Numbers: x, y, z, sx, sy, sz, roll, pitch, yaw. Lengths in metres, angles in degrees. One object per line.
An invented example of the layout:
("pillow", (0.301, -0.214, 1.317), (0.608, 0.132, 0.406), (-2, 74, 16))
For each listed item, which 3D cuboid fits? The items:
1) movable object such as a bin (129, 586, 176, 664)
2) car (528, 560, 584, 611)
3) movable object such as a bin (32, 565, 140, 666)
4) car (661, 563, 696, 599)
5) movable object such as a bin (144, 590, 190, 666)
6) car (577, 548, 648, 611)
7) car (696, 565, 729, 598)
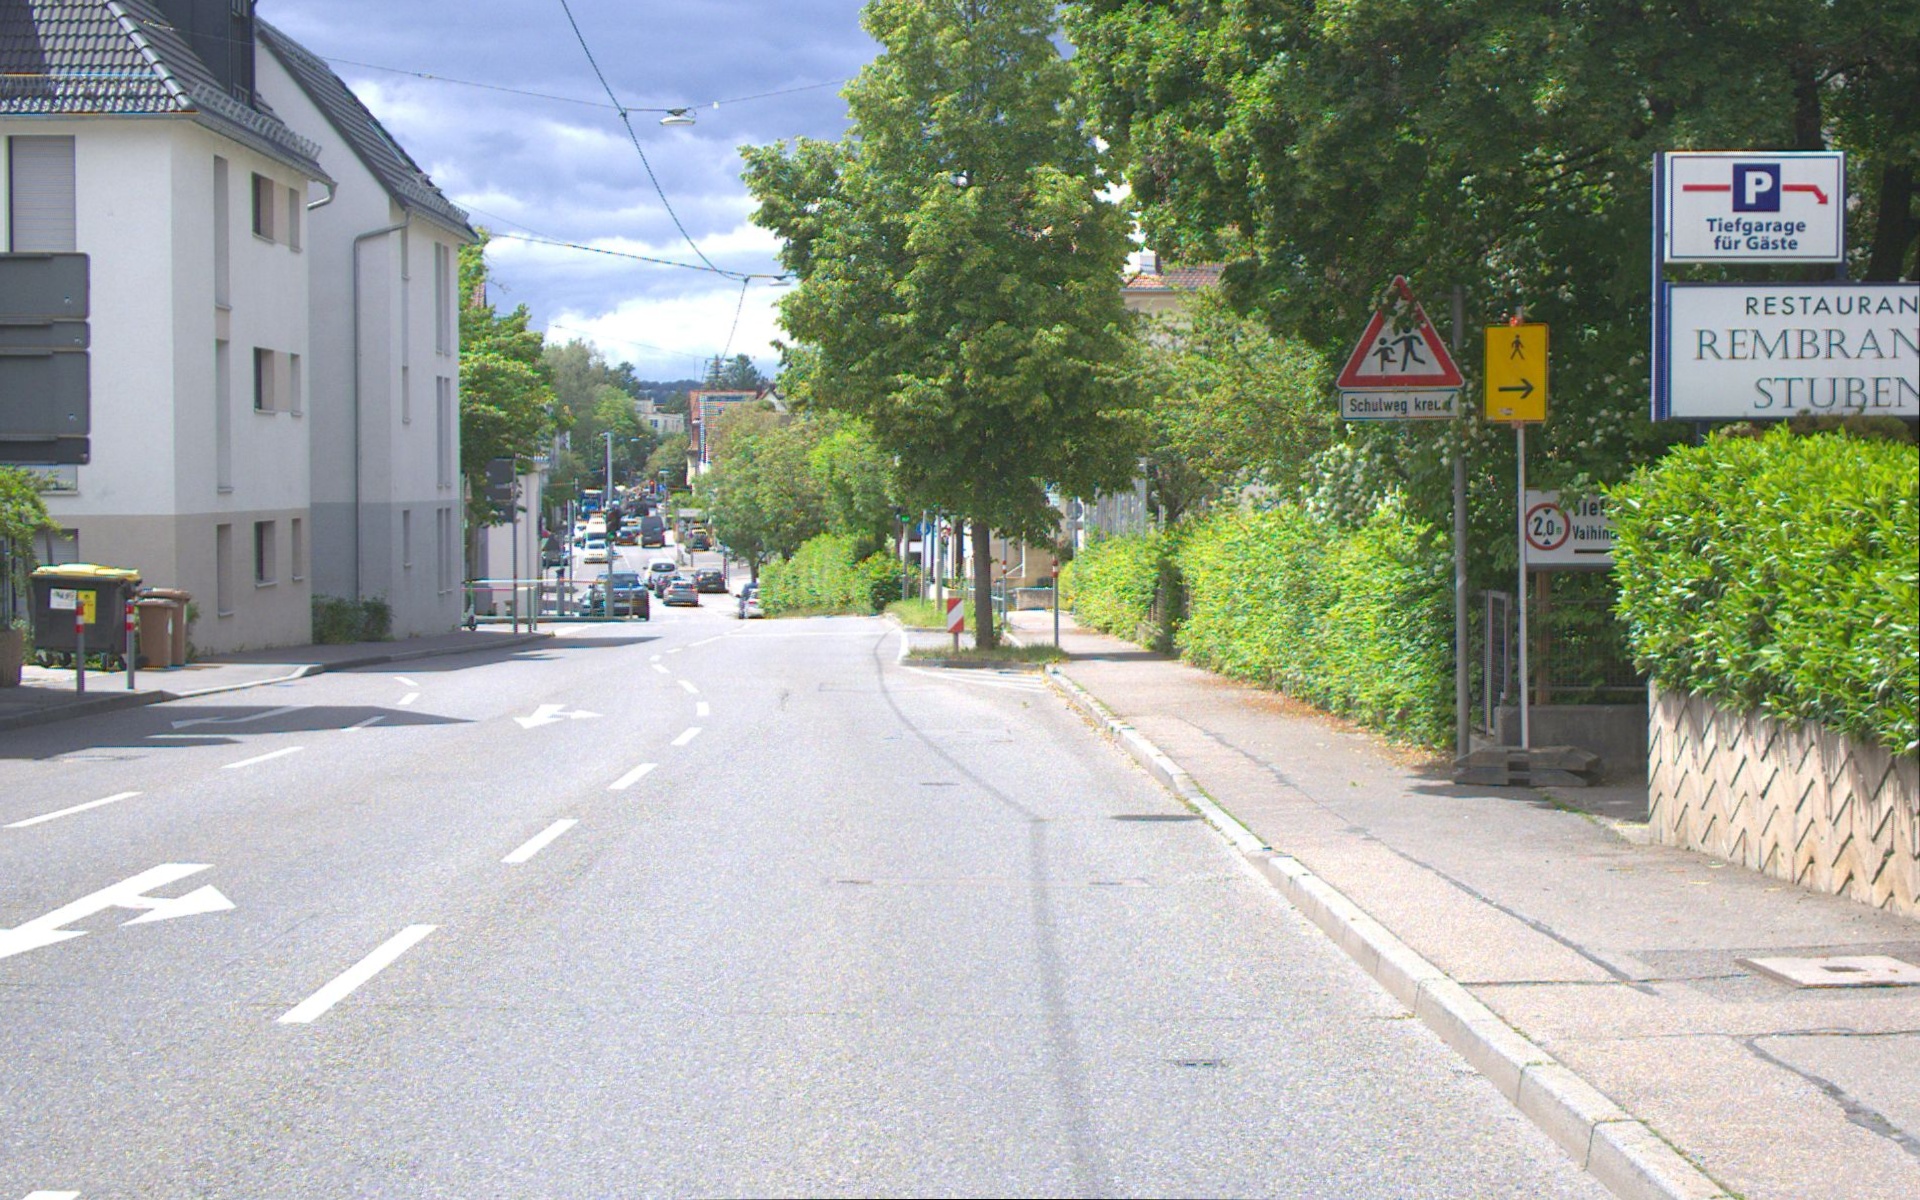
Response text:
("movable object such as a bin", (-10.845, 0.334, 46.170), (0.531, 1.026, 0.455), (0, 1, -2))
("car", (-16.122, -0.582, 137.026), (1.993, 2.007, 4.001), (0, 0, -10))
("movable object such as a bin", (-11.445, 0.194, 45.048), (1.281, 1.305, 0.816), (0, 1, -6))
("car", (-16.287, -1.089, 198.885), (1.993, 2.007, 4.001), (-1, 0, -5))
("movable object such as a bin", (-10.800, 0.380, 46.808), (0.531, 1.026, 0.455), (0, 1, -2))
("car", (-11.303, -0.665, 111.706), (1.993, 2.007, 4.001), (0, 0, -10))
("car", (-15.481, -1.149, 214.697), (1.993, 2.007, 4.001), (-1, 0, -5))
